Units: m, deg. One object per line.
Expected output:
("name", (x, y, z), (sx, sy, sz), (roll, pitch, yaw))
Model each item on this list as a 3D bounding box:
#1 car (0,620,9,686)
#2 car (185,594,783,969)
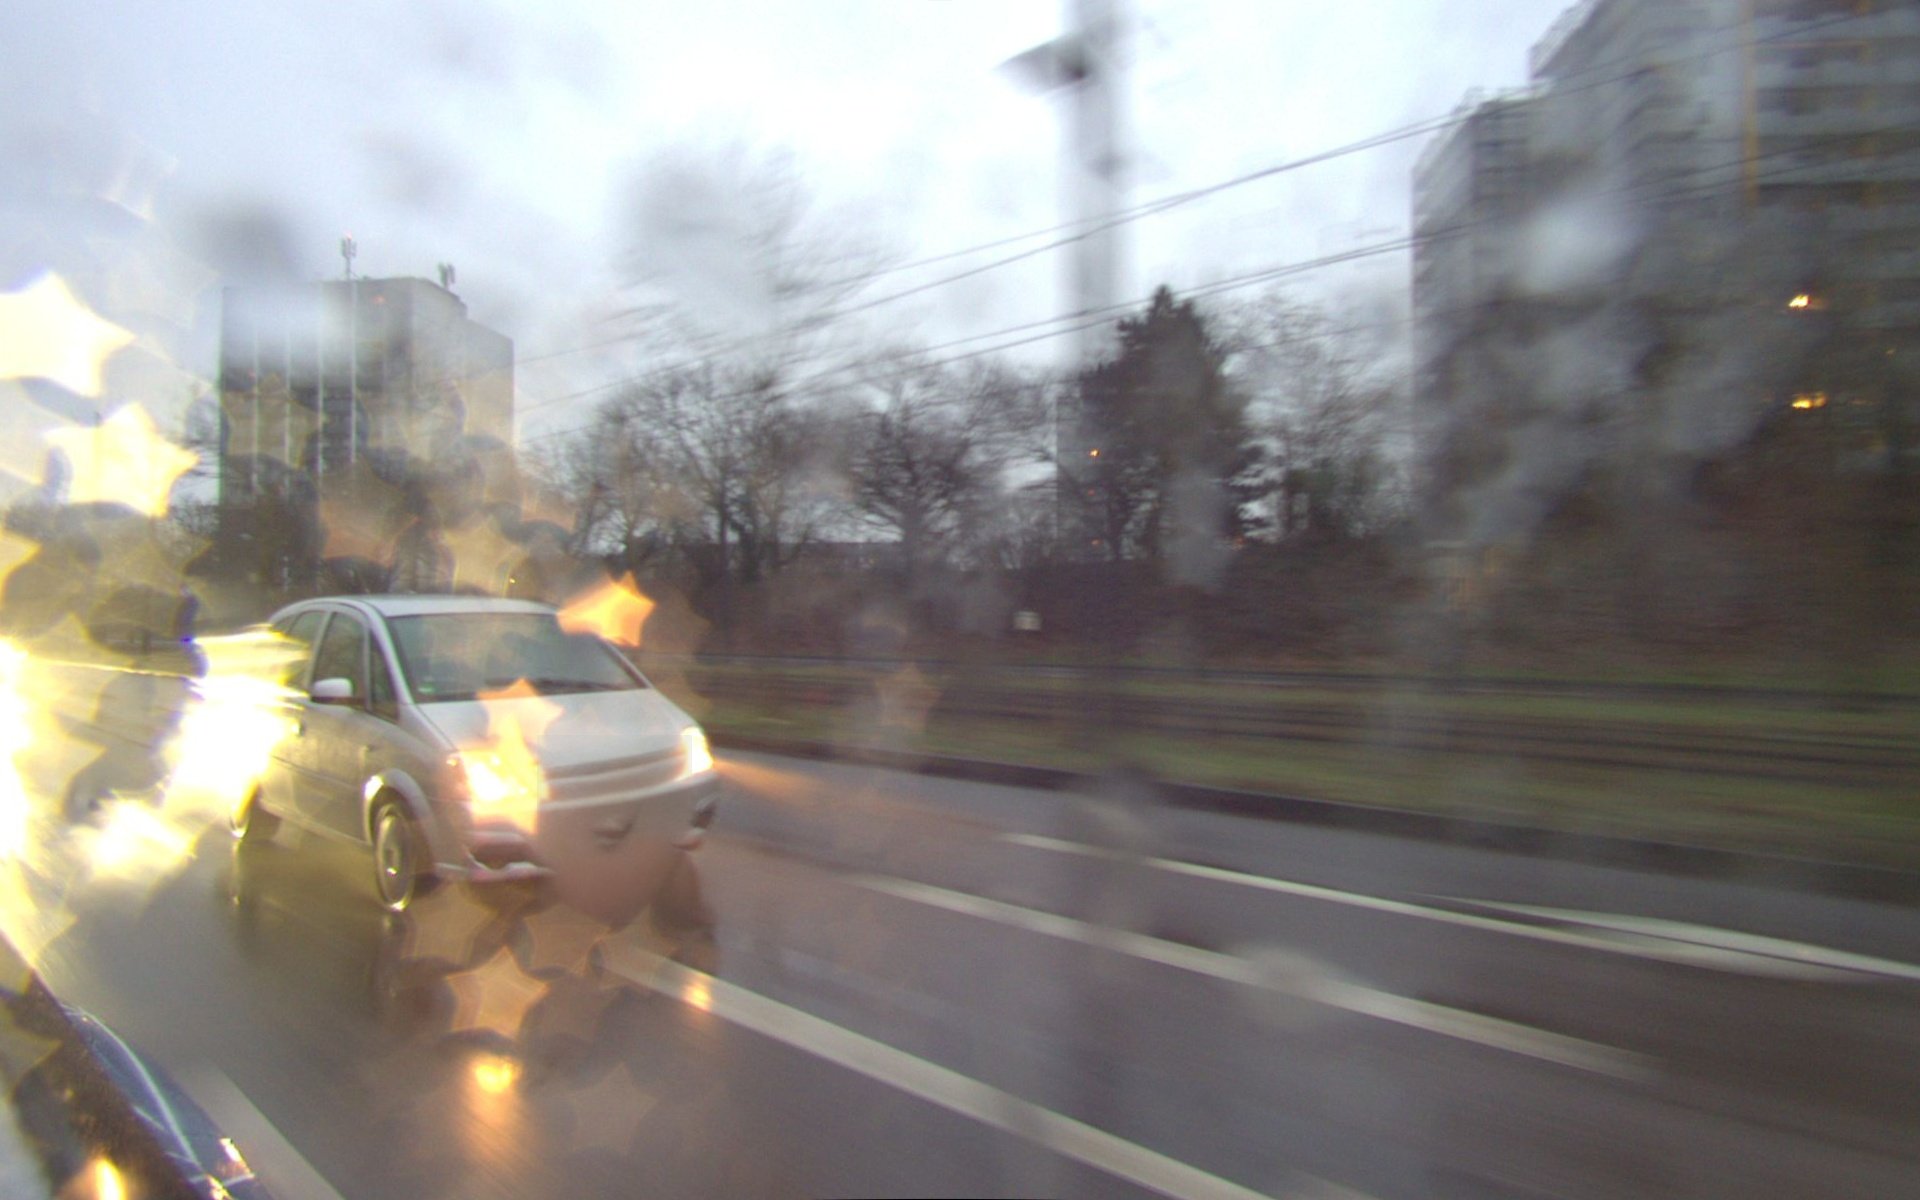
("car", (-25.451, 1.320, 25.284), (4.120, 1.612, 1.928), (-1, -2, 39))
("car", (-3.110, 0.789, 6.181), (4.186, 1.551, 1.673), (-1, -1, 39))
